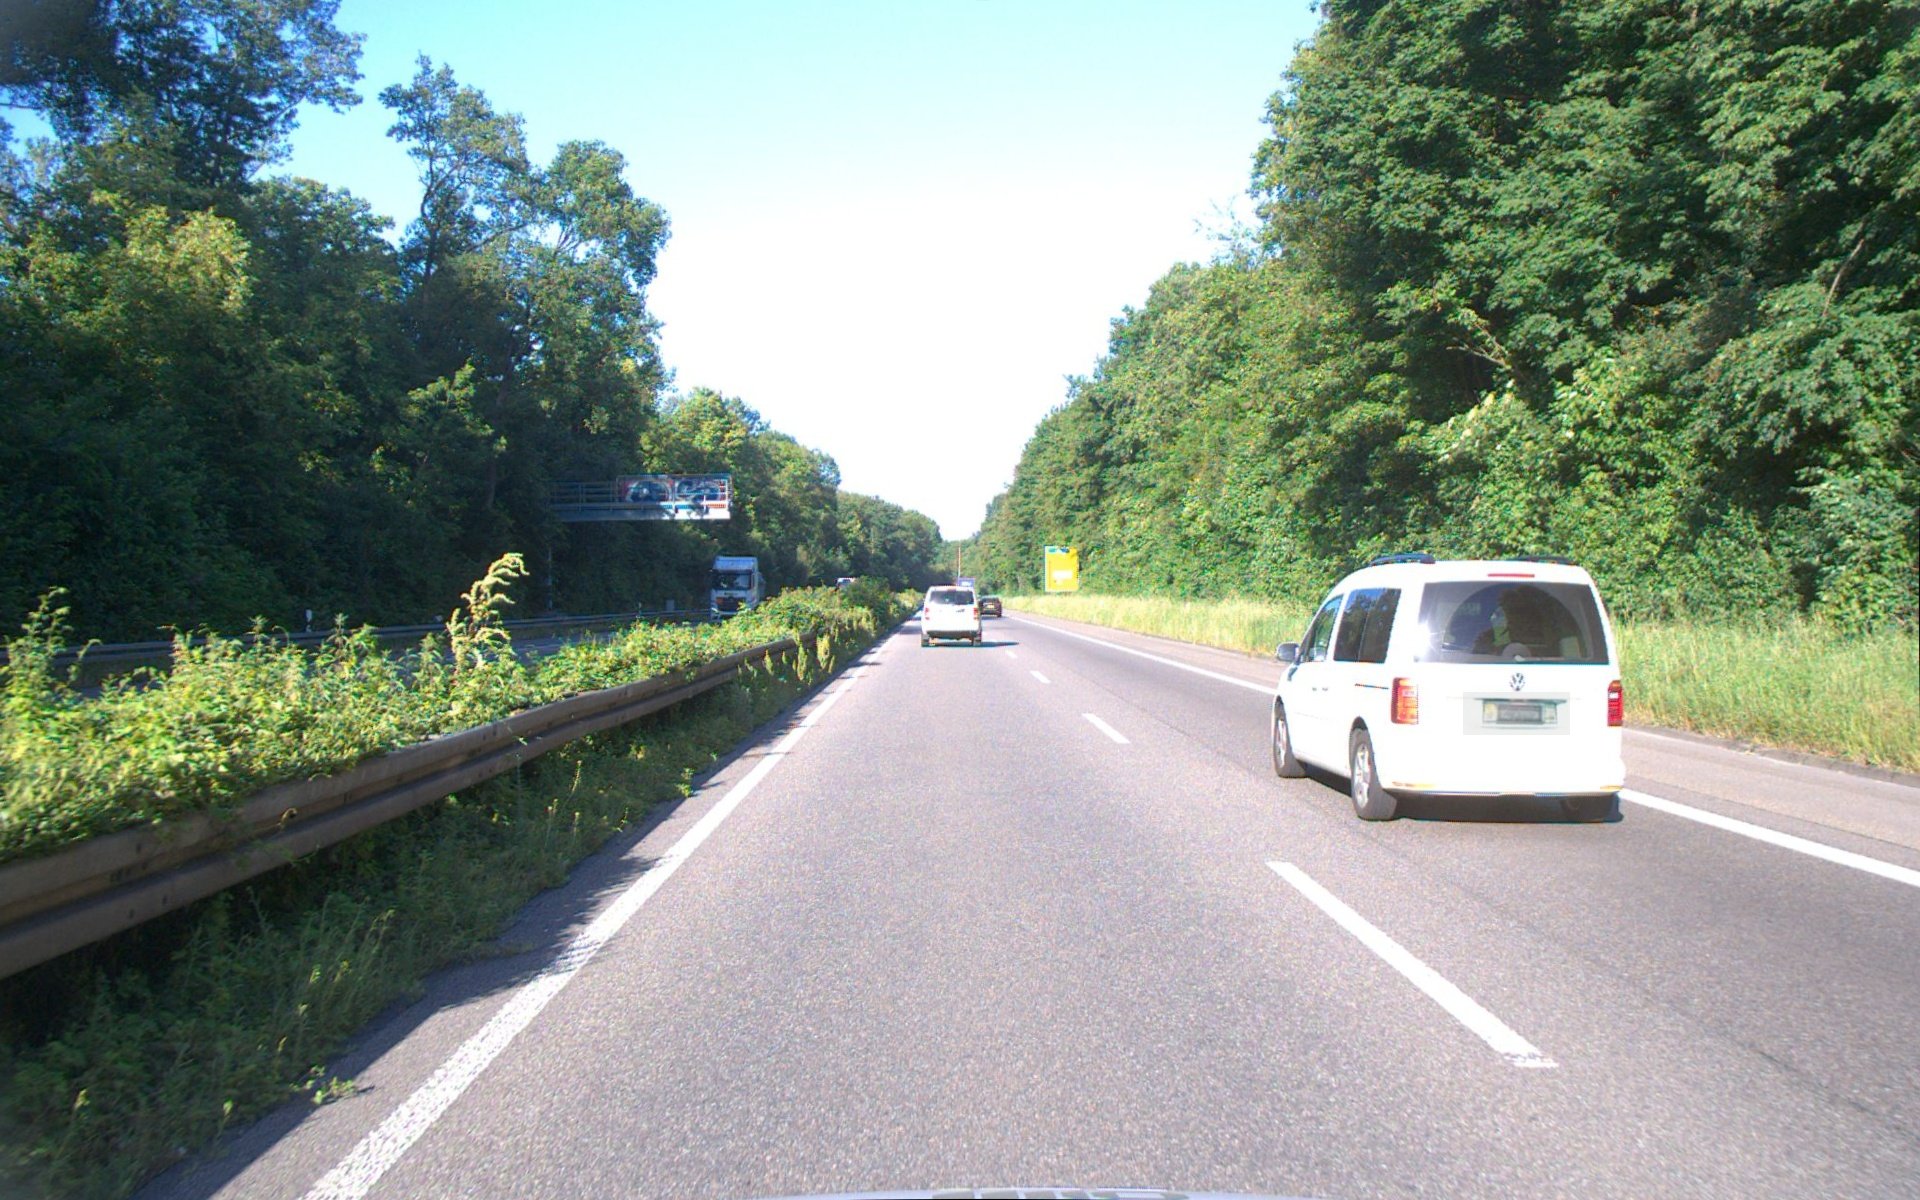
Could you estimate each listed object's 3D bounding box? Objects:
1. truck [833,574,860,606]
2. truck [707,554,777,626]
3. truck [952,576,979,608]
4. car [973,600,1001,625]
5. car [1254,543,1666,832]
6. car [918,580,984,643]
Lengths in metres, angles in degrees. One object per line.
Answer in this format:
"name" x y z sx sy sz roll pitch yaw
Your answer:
"truck" -14.859 -1.314 216.537 3.163 4.083 5.675 1 0 -1
"truck" -13.030 -0.534 99.660 2.713 4.024 11.465 1 0 0
"truck" 0.759 -1.109 234.048 3.658 4.419 9.303 1 0 -1
"car" 1.973 0.936 122.634 1.912 1.813 4.586 1 0 -1
"car" 3.642 0.580 12.977 1.762 1.844 4.586 1 0 -1
"car" -0.310 0.353 50.247 1.912 1.813 4.586 1 0 -1
